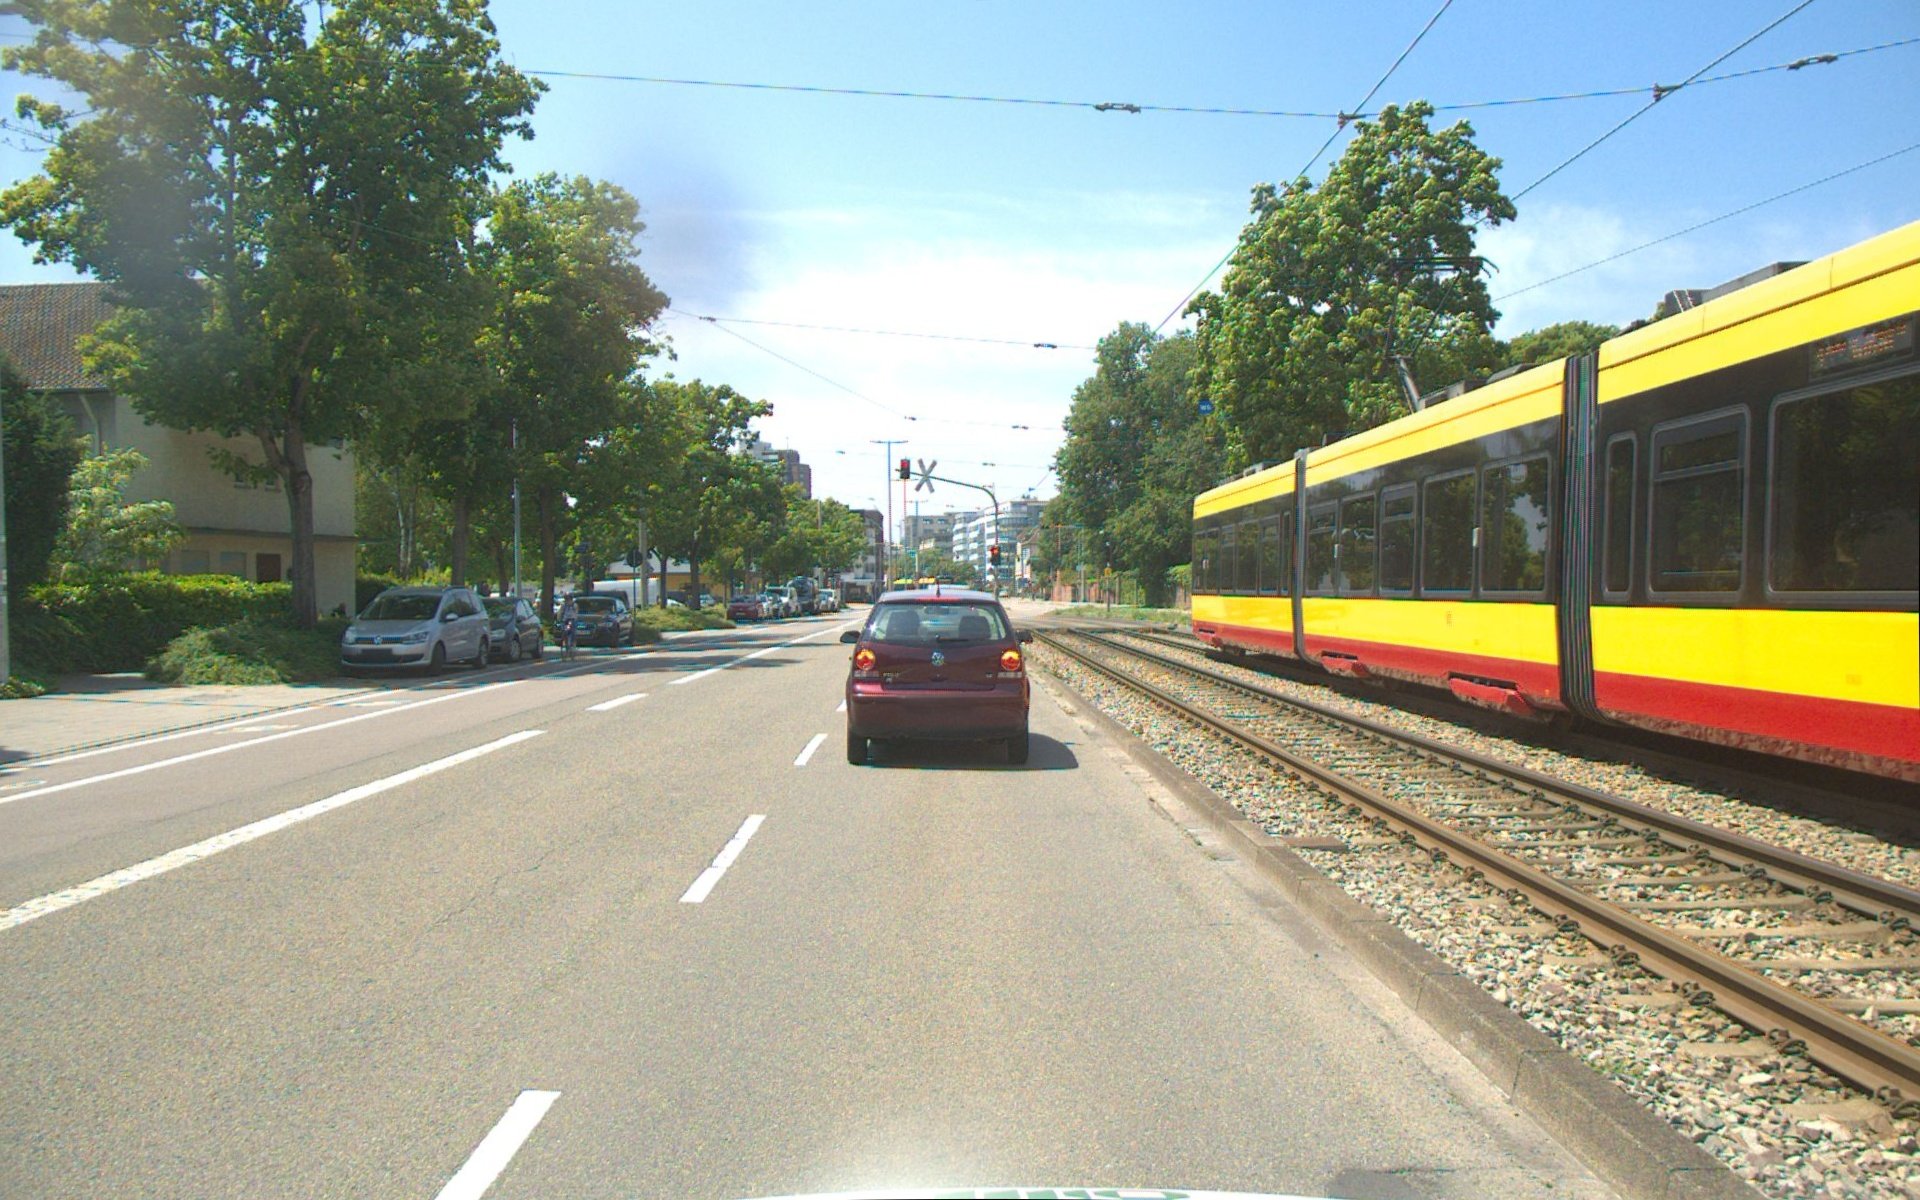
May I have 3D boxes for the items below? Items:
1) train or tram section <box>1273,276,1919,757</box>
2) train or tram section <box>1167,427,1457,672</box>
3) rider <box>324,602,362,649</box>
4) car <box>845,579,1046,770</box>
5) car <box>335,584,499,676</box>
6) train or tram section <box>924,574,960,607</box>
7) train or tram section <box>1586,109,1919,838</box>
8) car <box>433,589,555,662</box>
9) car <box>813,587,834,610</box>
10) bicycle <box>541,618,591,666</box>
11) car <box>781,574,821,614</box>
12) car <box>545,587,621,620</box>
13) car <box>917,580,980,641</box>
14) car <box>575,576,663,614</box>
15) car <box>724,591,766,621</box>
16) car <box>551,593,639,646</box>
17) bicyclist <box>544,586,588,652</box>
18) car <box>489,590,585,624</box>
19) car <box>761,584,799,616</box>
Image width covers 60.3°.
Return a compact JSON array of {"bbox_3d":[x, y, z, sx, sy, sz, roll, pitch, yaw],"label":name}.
[{"bbox_3d":[6.507,-0.729,19.956,2.966,3.864,13.089,-1,0,0],"label":"train or tram section"},{"bbox_3d":[6.409,-0.850,32.708,2.966,3.864,12.760,-1,0,0],"label":"train or tram section"},{"bbox_3d":[-19.084,0.783,51.174,0.808,1.398,0.812,-1,0,7],"label":"rider"},{"bbox_3d":[-0.175,0.595,15.572,1.639,1.548,3.999,1,0,-2],"label":"car"},{"bbox_3d":[-10.864,0.542,33.452,1.835,1.693,4.780,0,1,-1],"label":"car"},{"bbox_3d":[-2.176,-1.156,193.915,2.689,3.672,12.848,1,0,-8],"label":"train or tram section"},{"bbox_3d":[6.564,-0.669,6.904,2.966,3.864,13.090,-1,0,0],"label":"train or tram section"},{"bbox_3d":[-10.925,0.553,39.060,1.782,1.592,4.180,1,0,-1],"label":"car"},{"bbox_3d":[-11.672,-0.120,141.315,1.741,1.860,3.995,1,-1,-6],"label":"car"},{"bbox_3d":[-9.087,0.944,38.196,0.688,0.967,2.242,-3,1,-4],"label":"bicycle"},{"bbox_3d":[-11.311,-0.370,118.040,2.313,2.739,5.307,1,-1,0],"label":"car"},{"bbox_3d":[-21.428,0.206,94.117,3.907,1.776,1.998,-1,0,-2],"label":"car"},{"bbox_3d":[-0.370,0.280,48.651,1.741,1.676,3.999,1,0,-2],"label":"car"},{"bbox_3d":[-21.564,-0.316,104.743,4.992,2.284,2.378,1,-1,0],"label":"car"},{"bbox_3d":[-11.437,0.344,88.203,1.628,1.523,4.000,1,0,1],"label":"car"},{"bbox_3d":[-11.065,0.569,50.458,1.782,1.502,4.448,1,0,-1],"label":"car"},{"bbox_3d":[-9.099,0.432,38.213,0.720,1.455,1.124,-4,0,-4],"label":"bicyclist"},{"bbox_3d":[-21.320,0.334,83.374,4.251,1.612,1.914,-1,0,5],"label":"car"},{"bbox_3d":[-11.405,0.022,104.993,1.746,1.914,4.786,1,0,2],"label":"car"}]
